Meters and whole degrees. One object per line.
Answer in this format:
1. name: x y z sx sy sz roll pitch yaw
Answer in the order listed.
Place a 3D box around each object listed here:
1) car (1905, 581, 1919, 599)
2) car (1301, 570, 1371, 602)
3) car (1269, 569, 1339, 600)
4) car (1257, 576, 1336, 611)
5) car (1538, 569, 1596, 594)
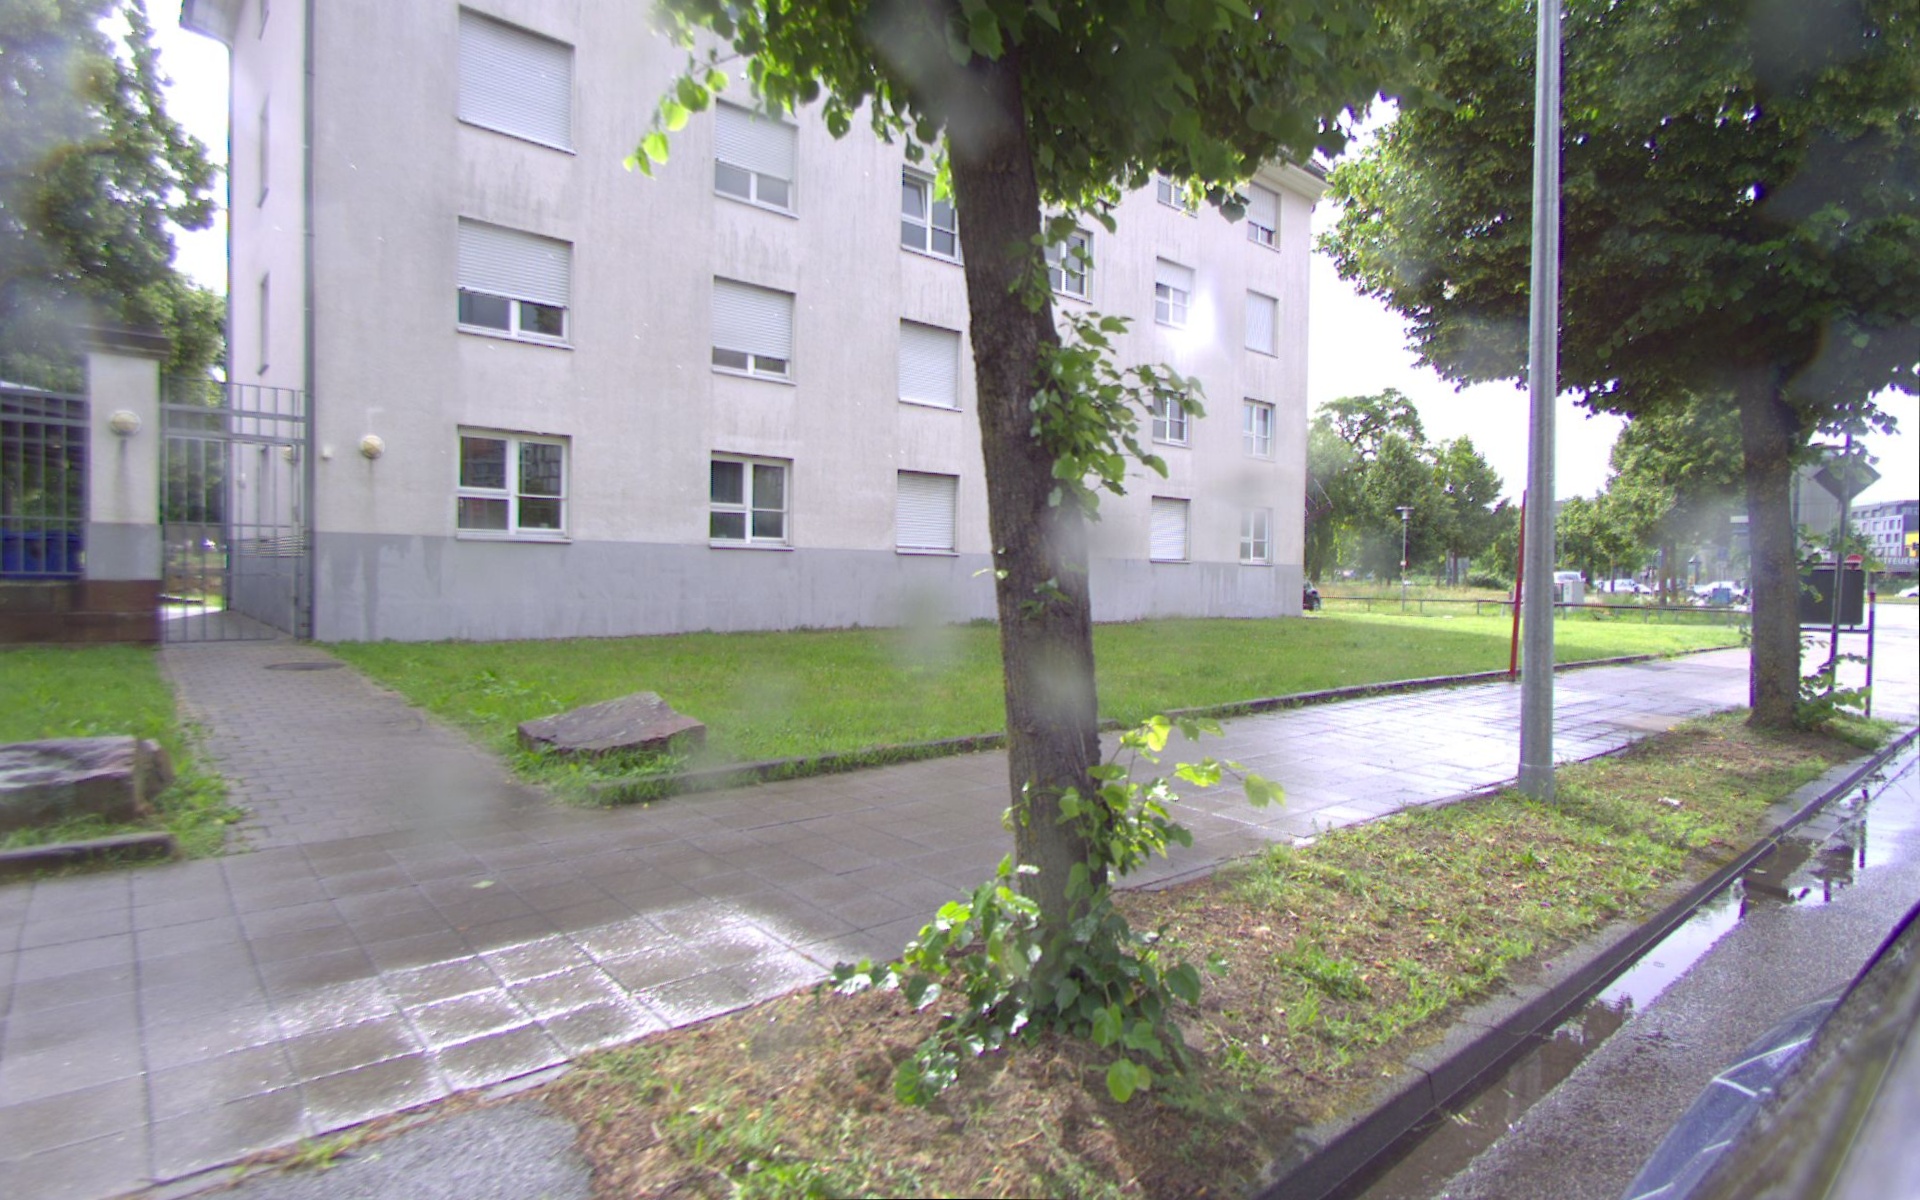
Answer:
1. car: 84.908 -0.811 87.633 4.066 1.549 1.659 1 1 19
2. car: 19.539 -0.752 52.546 3.707 1.567 1.932 0 2 -42
3. car: 18.694 -0.848 54.927 3.932 1.567 1.932 0 2 -42
4. car: 13.880 -0.292 41.652 3.810 1.342 1.389 0 2 -43
5. car: 44.830 -1.424 74.875 1.858 1.734 4.227 1 2 3
